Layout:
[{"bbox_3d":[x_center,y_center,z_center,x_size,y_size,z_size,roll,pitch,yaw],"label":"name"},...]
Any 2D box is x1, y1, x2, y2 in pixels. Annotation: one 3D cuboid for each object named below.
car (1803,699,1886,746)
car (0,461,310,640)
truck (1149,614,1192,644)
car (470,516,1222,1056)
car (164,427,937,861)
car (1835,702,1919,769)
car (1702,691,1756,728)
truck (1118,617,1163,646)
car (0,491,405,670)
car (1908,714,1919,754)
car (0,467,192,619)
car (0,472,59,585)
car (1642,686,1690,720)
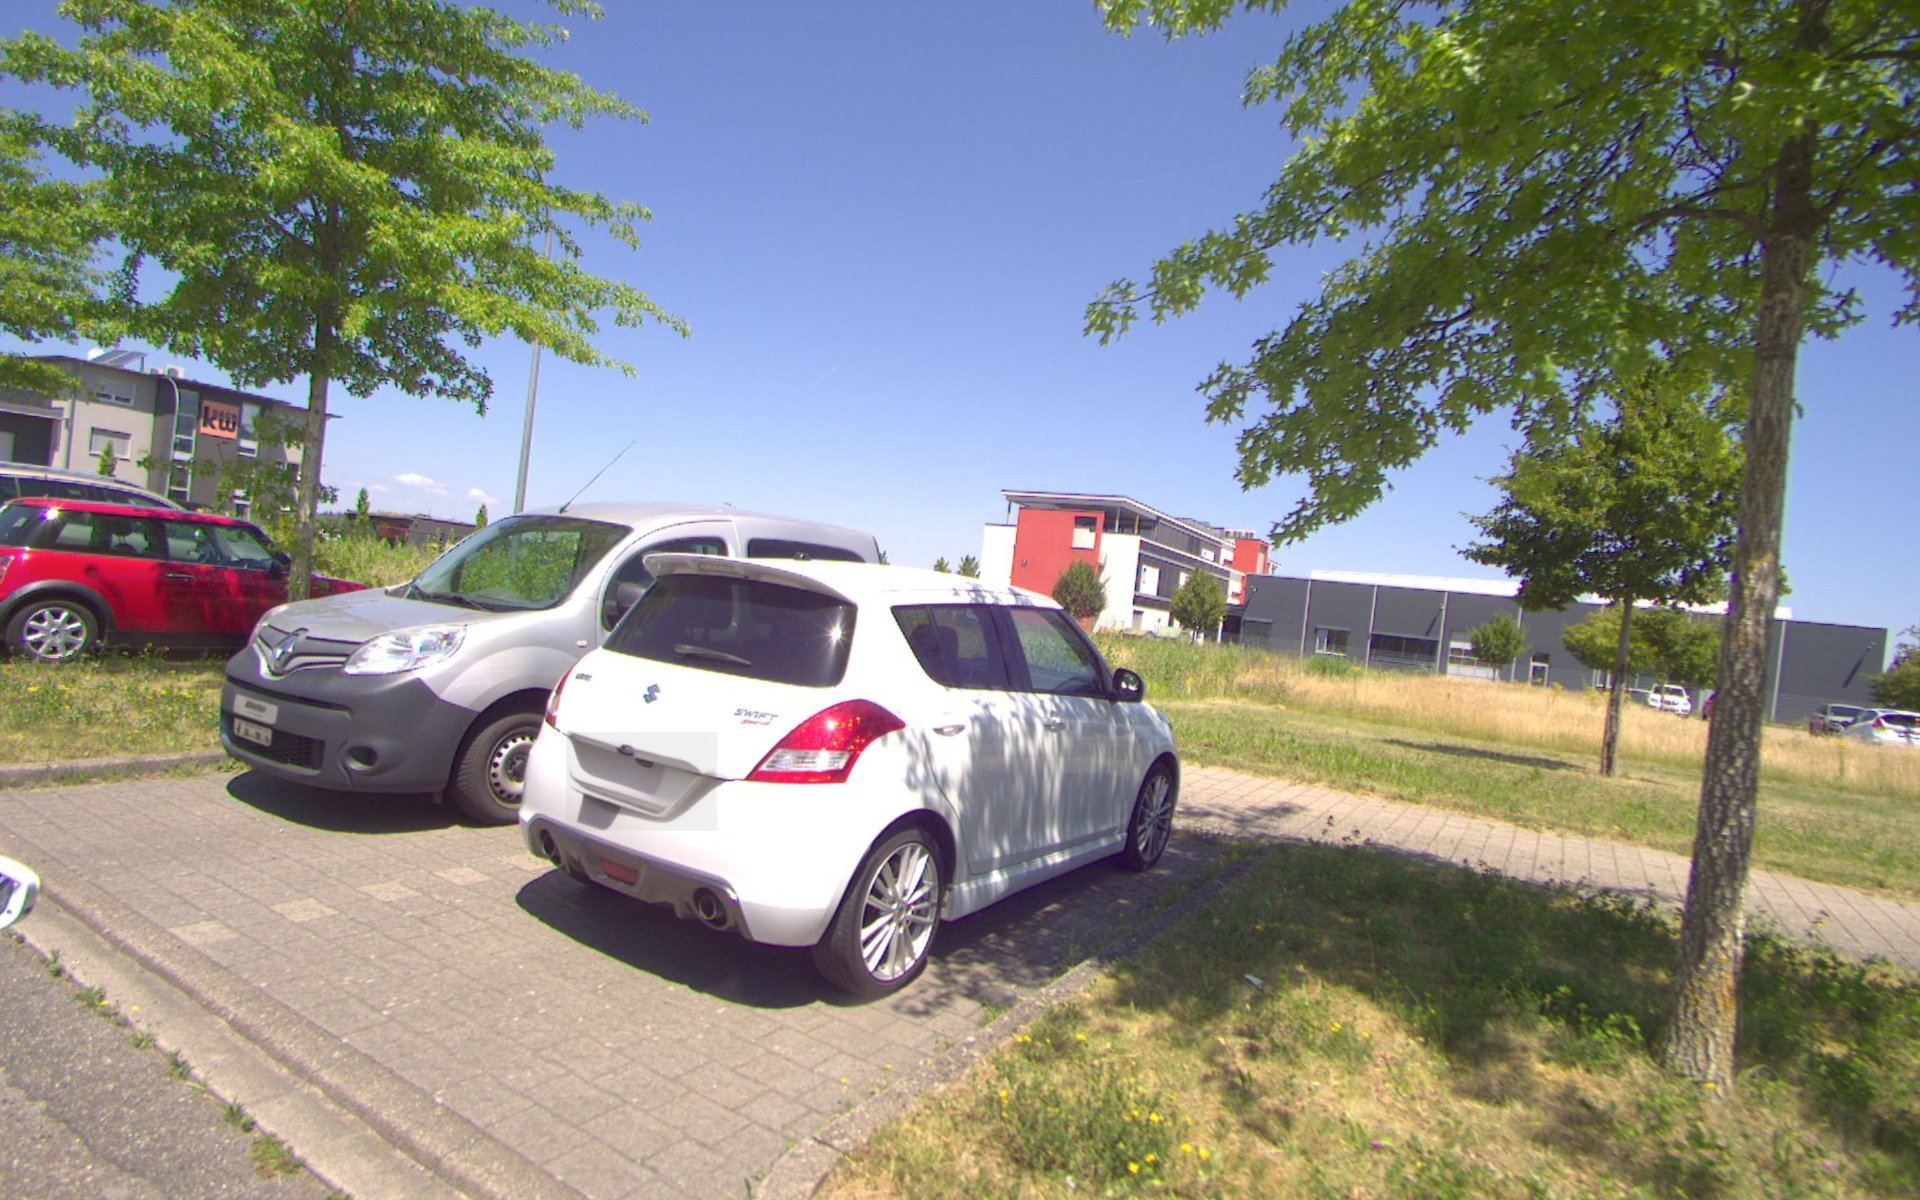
[{"bbox_3d":[36.348,4.994,41.450,1.690,1.528,3.992,7,0,30],"label":"car"},{"bbox_3d":[-9.602,-0.537,10.880,1.753,1.699,3.877,6,1,32],"label":"car"},{"bbox_3d":[16.595,2.298,79.314,1.966,2.039,3.992,7,0,31],"label":"truck"},{"bbox_3d":[-0.161,0.594,4.930,1.649,1.522,3.632,6,1,32],"label":"car"},{"bbox_3d":[-2.172,0.214,6.612,1.766,1.853,4.404,6,1,32],"label":"car"},{"bbox_3d":[25.821,3.751,27.876,1.691,1.529,3.326,7,0,31],"label":"car"},{"bbox_3d":[39.770,5.643,52.105,1.691,1.528,3.991,7,0,31],"label":"car"},{"bbox_3d":[14.457,2.541,80.555,1.966,2.039,4.347,7,0,31],"label":"truck"},{"bbox_3d":[-7.683,-0.166,9.875,1.725,1.435,3.460,6,1,31],"label":"car"},{"bbox_3d":[38.784,5.417,39.175,1.690,1.528,3.992,7,0,30],"label":"car"},{"bbox_3d":[-12.037,-0.774,11.982,1.752,1.718,4.177,6,1,30],"label":"car"},{"bbox_3d":[-17.145,-1.336,15.475,1.959,1.791,4.454,7,1,29],"label":"car"},{"bbox_3d":[37.308,5.427,53.252,1.691,1.470,3.991,7,0,31],"label":"car"}]
